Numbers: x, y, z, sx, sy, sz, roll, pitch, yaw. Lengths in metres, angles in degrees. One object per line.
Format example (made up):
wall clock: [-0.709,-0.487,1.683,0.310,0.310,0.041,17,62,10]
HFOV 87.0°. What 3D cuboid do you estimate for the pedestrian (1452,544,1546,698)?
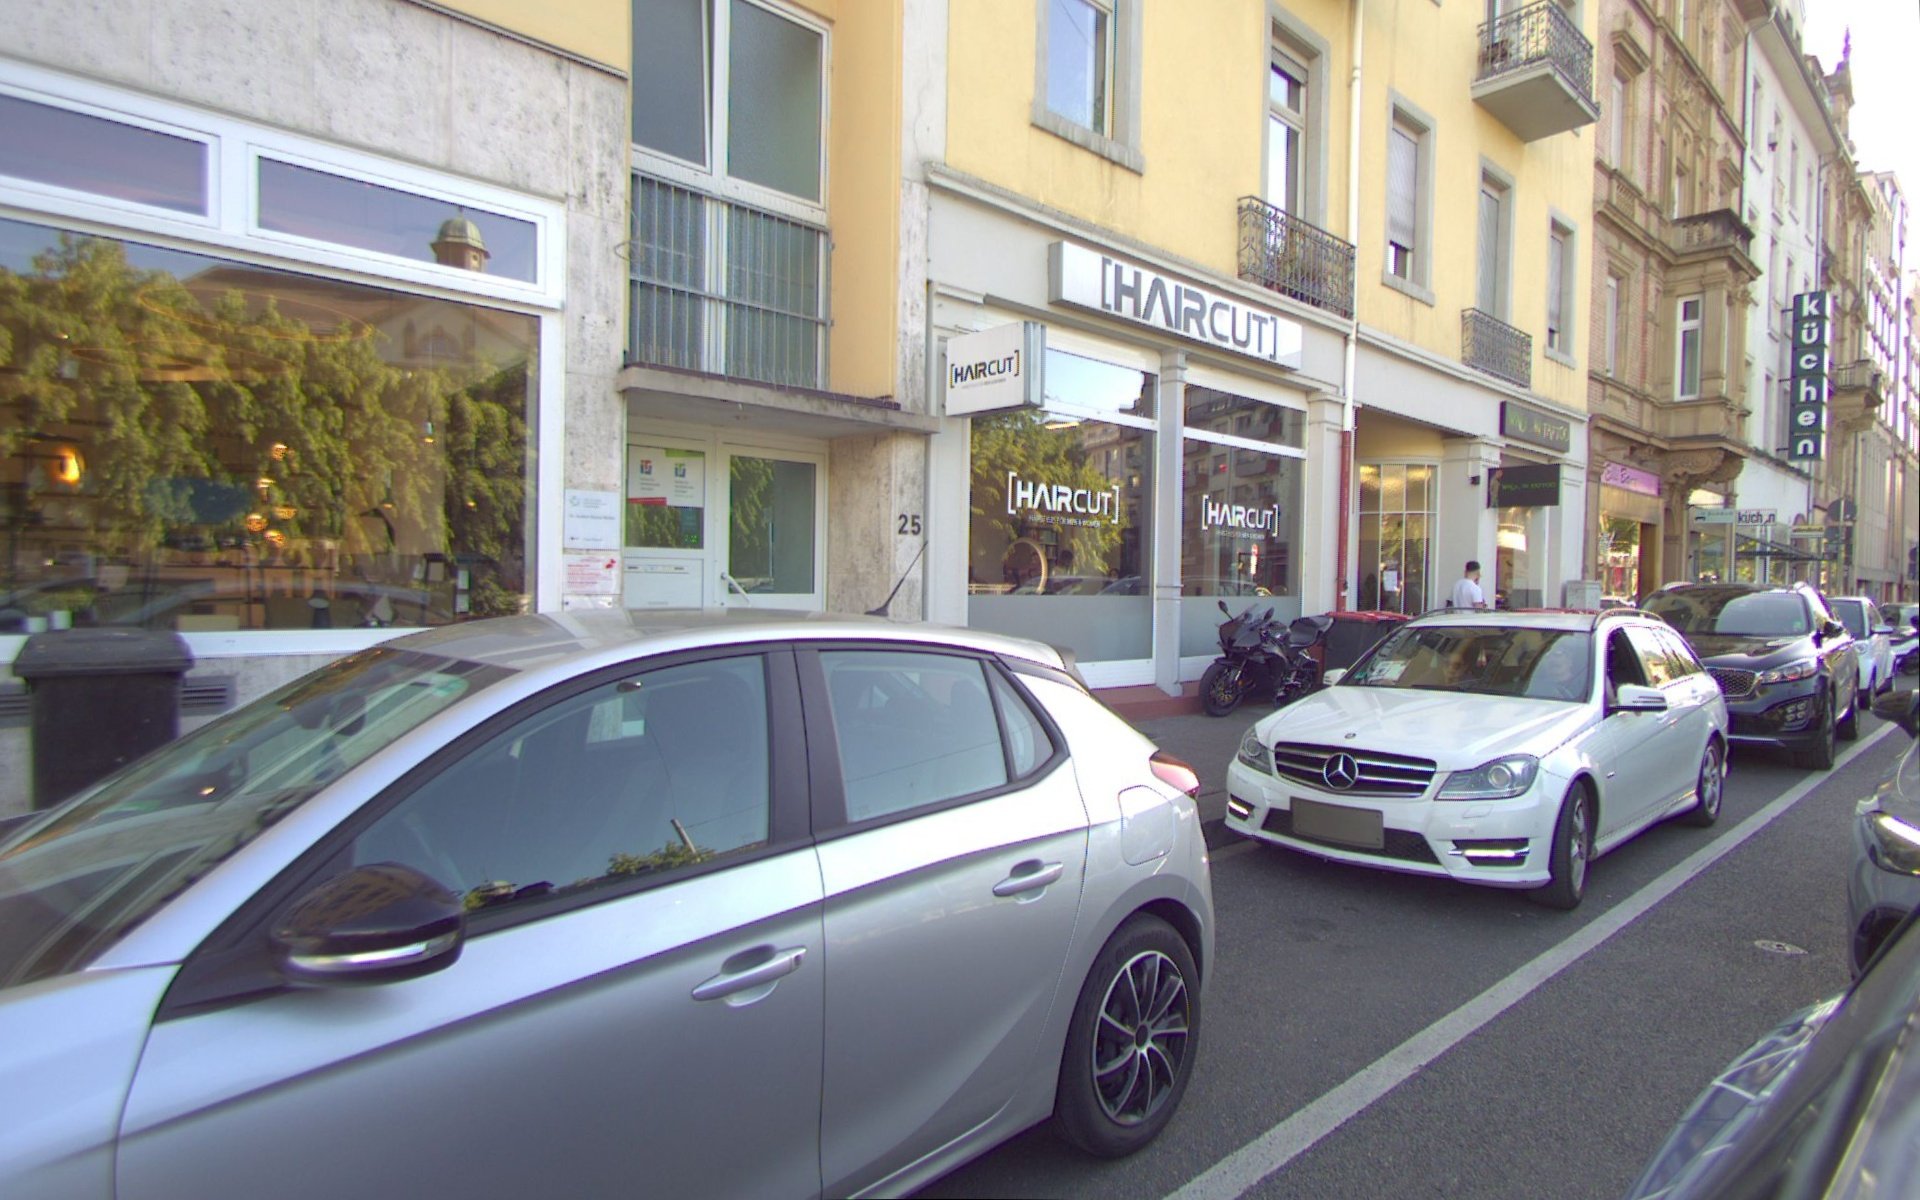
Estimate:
pedestrian: [6.863,0.258,12.925,0.961,1.900,0.532,0,0,18]

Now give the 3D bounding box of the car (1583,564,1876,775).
car: [8.009,0.535,10.364,4.338,1.711,1.802,-1,0,-45]

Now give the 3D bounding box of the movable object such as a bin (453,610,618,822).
movable object such as a bin: [-2.328,0.585,5.535,0.639,1.036,0.737,0,0,-41]

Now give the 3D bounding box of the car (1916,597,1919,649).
car: [26.610,0.580,26.924,3.306,1.334,1.459,-1,0,-42]

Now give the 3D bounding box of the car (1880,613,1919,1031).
car: [5.397,0.754,4.373,4.397,1.385,1.767,-1,1,-43]

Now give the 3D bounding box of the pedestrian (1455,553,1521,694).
pedestrian: [7.239,0.306,13.872,0.627,1.859,0.760,0,0,41]

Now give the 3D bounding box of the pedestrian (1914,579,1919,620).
pedestrian: [41.457,-0.026,43.322,0.809,1.782,0.825,0,0,-42]

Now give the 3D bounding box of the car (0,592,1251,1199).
car: [-1.007,0.719,2.305,3.625,1.455,1.585,-1,0,-43]

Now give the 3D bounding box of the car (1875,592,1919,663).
car: [21.898,0.572,22.806,3.736,1.509,1.691,-1,0,-45]

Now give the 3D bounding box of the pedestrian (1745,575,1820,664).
pedestrian: [16.491,0.378,20.311,0.822,1.741,0.819,0,0,1]

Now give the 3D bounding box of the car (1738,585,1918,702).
car: [12.771,0.552,14.850,2.945,1.542,1.582,-1,0,-41]

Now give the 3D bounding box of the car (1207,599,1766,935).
car: [3.532,0.713,6.385,4.301,1.389,1.671,-1,0,-41]

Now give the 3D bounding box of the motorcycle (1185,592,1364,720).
motorcycle: [3.296,0.527,10.507,2.073,1.144,0.735,-1,5,-41]

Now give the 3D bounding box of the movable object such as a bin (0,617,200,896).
movable object such as a bin: [-3.675,0.603,4.321,0.639,1.036,0.737,0,0,-41]
